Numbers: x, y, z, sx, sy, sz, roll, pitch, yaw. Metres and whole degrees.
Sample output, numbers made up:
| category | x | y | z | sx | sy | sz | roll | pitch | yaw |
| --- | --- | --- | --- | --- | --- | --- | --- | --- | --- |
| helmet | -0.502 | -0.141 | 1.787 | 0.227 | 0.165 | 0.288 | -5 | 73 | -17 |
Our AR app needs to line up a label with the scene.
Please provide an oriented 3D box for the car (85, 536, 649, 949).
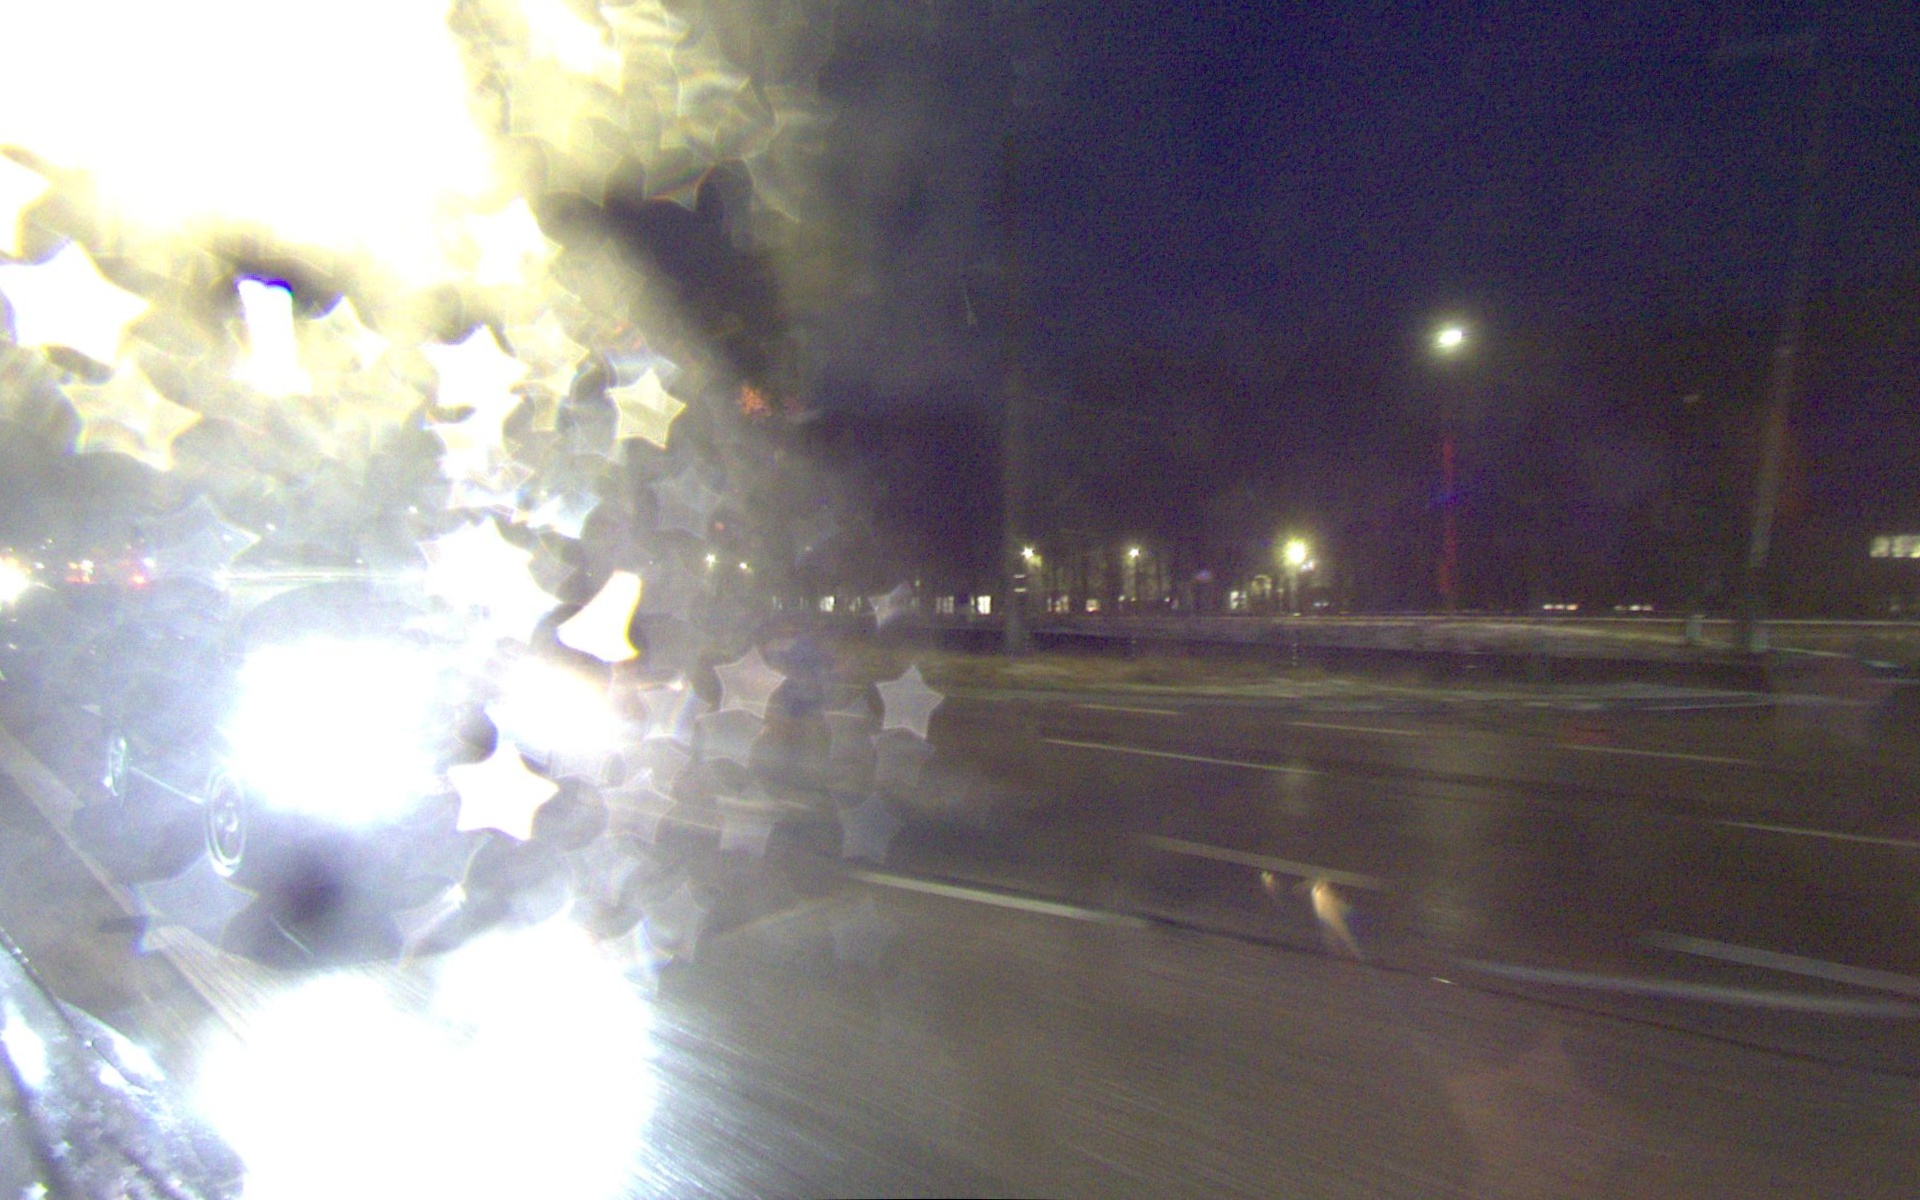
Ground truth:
| category | x | y | z | sx | sy | sz | roll | pitch | yaw |
| --- | --- | --- | --- | --- | --- | --- | --- | --- | --- |
| car | -4.190 | 0.623 | 6.794 | 4.523 | 1.857 | 1.972 | 0 | 1 | 42 |
